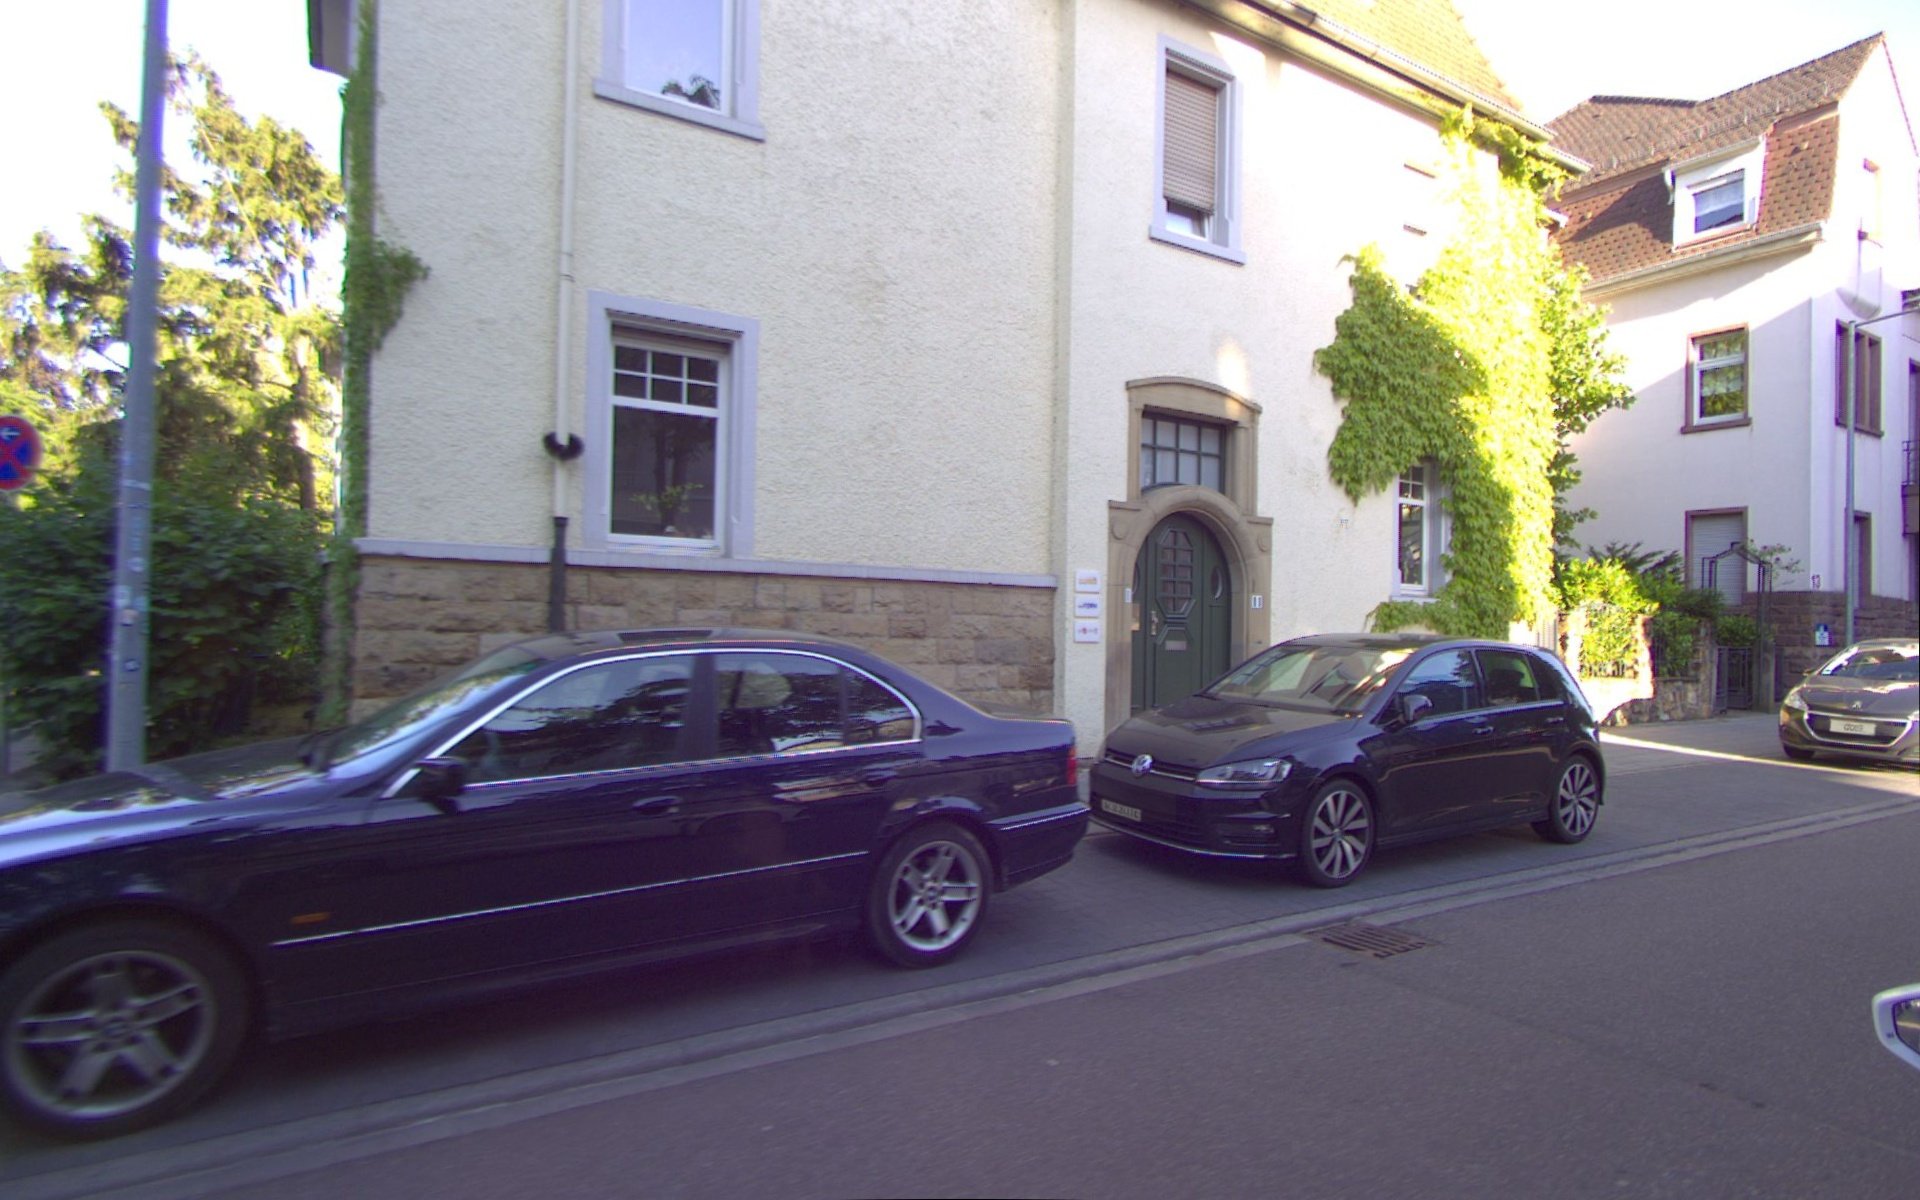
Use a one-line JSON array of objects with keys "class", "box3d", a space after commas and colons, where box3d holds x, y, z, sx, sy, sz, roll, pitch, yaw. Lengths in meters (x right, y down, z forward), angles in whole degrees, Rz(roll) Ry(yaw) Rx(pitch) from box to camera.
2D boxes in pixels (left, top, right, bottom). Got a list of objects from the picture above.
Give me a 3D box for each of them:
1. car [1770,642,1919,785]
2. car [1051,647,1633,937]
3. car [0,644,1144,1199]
[{"class": "car", "box3d": [11.603, 1.261, 12.070, 3.958, 1.466, 1.645, 1, -1, -30]}, {"class": "car", "box3d": [2.780, 1.086, 7.029, 4.120, 1.434, 1.645, 1, -1, -31]}, {"class": "car", "box3d": [-1.487, 1.027, 4.365, 4.582, 1.489, 1.700, 0, 0, -33]}]
